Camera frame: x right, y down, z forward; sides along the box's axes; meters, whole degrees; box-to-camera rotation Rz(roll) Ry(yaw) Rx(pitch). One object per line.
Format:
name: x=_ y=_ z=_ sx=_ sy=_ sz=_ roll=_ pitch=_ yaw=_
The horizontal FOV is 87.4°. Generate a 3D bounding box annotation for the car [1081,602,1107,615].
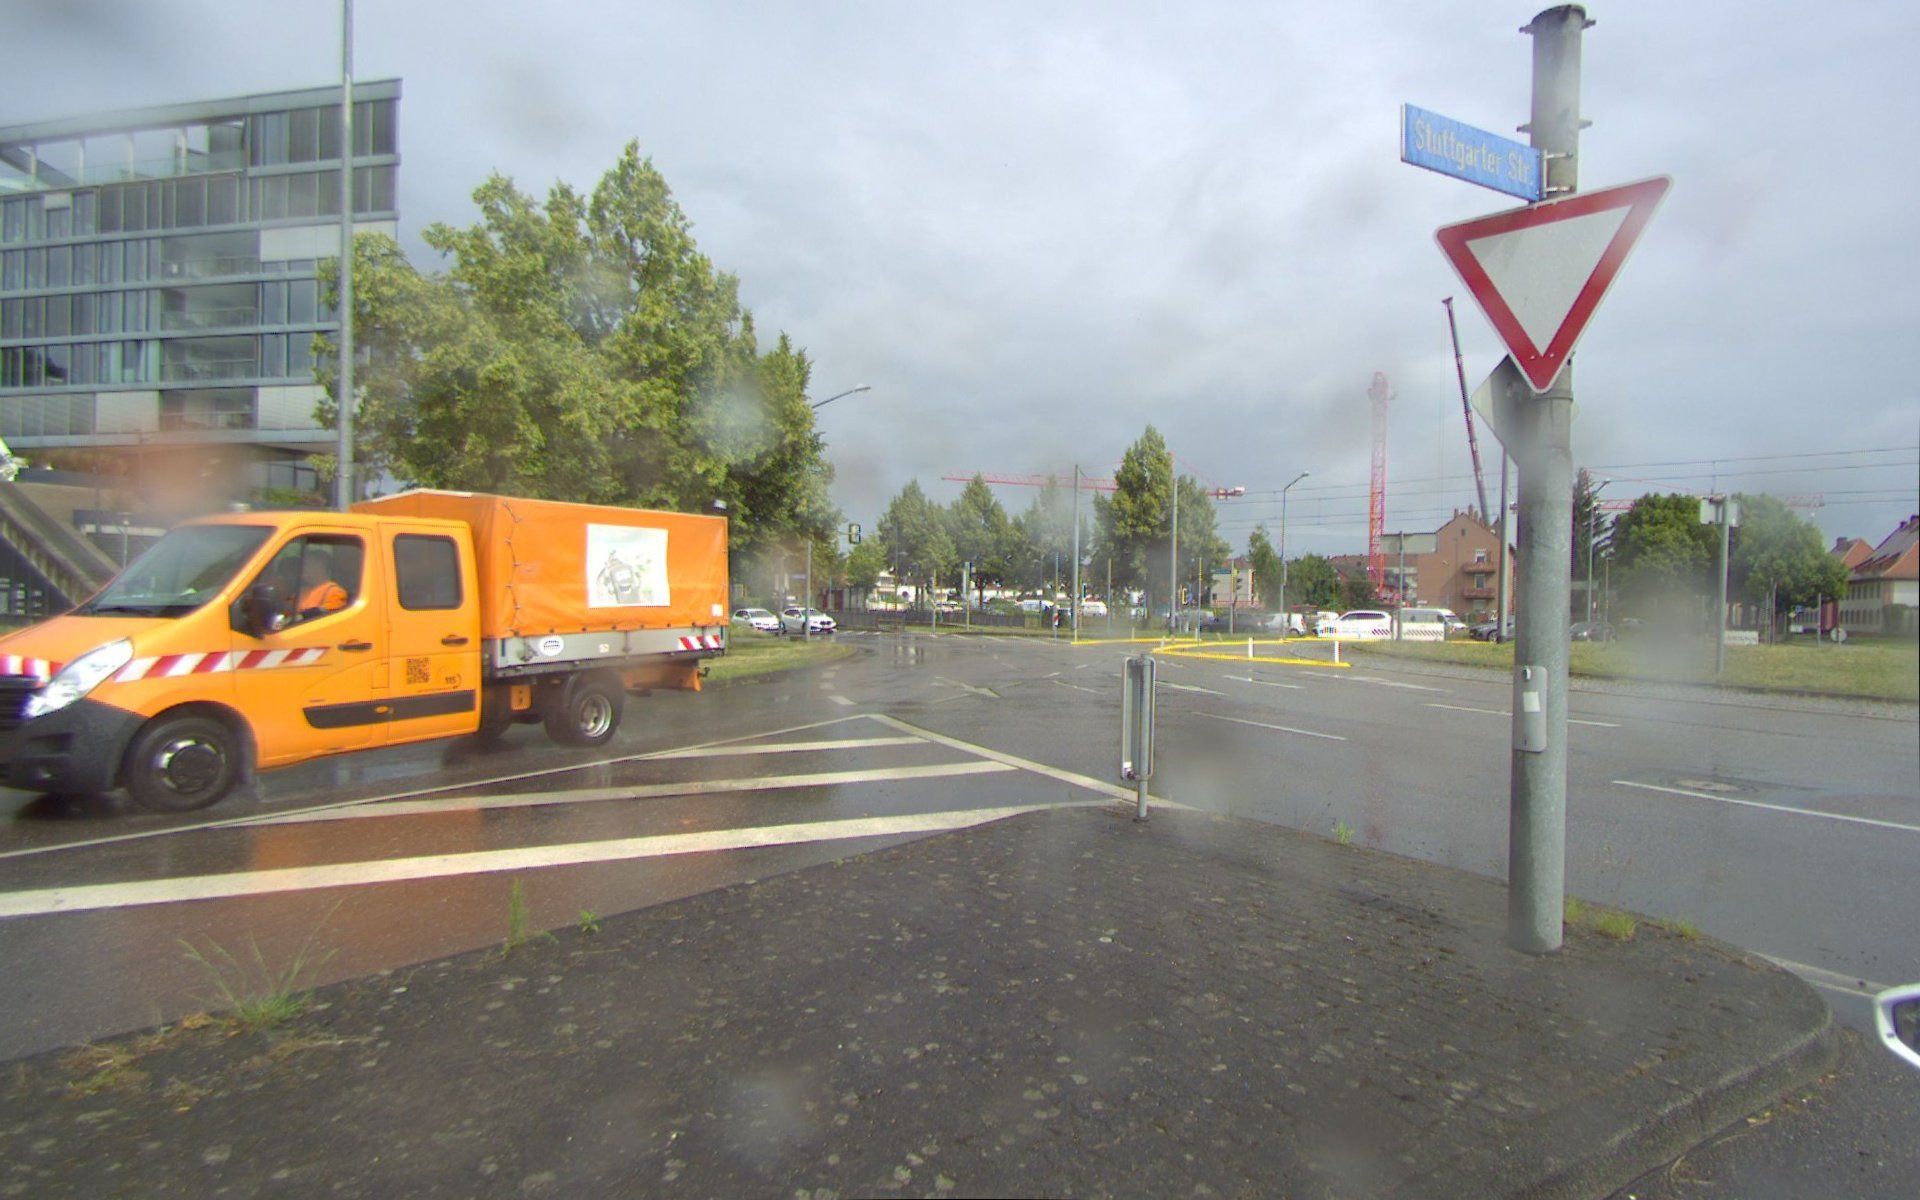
car: x=18.790 y=1.211 z=140.951 sx=1.488 sy=1.745 sz=3.557 roll=1 pitch=0 yaw=-40

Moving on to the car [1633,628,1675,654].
car: x=45.409 y=2.679 z=65.696 sx=3.476 sy=1.581 sz=1.530 roll=1 pitch=0 yaw=-44

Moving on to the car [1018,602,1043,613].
car: x=9.810 y=1.034 z=139.755 sx=1.536 sy=1.581 sz=3.461 roll=1 pitch=0 yaw=-38

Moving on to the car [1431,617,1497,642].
car: x=37.535 y=2.200 z=74.840 sx=3.925 sy=1.706 sz=1.998 roll=1 pitch=0 yaw=-6

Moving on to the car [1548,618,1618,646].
car: x=37.740 y=1.926 z=60.825 sx=3.947 sy=1.606 sz=1.786 roll=1 pitch=0 yaw=-26

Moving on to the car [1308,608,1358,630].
car: x=34.738 y=1.763 z=93.642 sx=1.910 sy=1.723 sz=3.961 roll=2 pitch=2 yaw=-34

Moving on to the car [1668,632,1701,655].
car: x=54.300 y=3.217 z=75.275 sx=1.578 sy=1.581 sz=3.529 roll=1 pitch=0 yaw=43

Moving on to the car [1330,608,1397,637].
car: x=22.906 y=1.280 z=57.082 sx=3.431 sy=1.530 sz=1.500 roll=1 pitch=1 yaw=21

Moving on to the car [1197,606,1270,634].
car: x=16.359 y=1.164 z=60.066 sx=3.926 sy=1.537 sz=1.801 roll=1 pitch=0 yaw=27

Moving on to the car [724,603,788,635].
car: x=-11.329 y=1.060 z=55.645 sx=1.849 sy=1.694 sz=4.426 roll=1 pitch=-1 yaw=-36

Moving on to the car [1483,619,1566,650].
car: x=30.975 y=1.865 z=55.177 sx=3.603 sy=1.581 sz=1.575 roll=1 pitch=1 yaw=6

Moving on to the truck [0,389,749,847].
truck: x=-5.224 y=0.128 z=9.707 sx=2.416 sy=2.763 sz=6.937 roll=1 pitch=0 yaw=27

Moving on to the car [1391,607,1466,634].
car: x=43.190 y=1.889 z=92.740 sx=2.018 sy=2.113 sz=6.219 roll=2 pitch=1 yaw=-28

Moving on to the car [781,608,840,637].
car: x=-8.601 y=1.262 z=57.475 sx=1.711 sy=1.528 sz=3.863 roll=1 pitch=0 yaw=-37

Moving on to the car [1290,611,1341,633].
car: x=32.518 y=2.048 z=91.911 sx=1.842 sy=1.723 sz=3.955 roll=2 pitch=1 yaw=-39

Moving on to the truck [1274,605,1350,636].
truck: x=30.475 y=1.752 z=87.192 sx=2.369 sy=2.241 sz=6.051 roll=2 pitch=2 yaw=-30
